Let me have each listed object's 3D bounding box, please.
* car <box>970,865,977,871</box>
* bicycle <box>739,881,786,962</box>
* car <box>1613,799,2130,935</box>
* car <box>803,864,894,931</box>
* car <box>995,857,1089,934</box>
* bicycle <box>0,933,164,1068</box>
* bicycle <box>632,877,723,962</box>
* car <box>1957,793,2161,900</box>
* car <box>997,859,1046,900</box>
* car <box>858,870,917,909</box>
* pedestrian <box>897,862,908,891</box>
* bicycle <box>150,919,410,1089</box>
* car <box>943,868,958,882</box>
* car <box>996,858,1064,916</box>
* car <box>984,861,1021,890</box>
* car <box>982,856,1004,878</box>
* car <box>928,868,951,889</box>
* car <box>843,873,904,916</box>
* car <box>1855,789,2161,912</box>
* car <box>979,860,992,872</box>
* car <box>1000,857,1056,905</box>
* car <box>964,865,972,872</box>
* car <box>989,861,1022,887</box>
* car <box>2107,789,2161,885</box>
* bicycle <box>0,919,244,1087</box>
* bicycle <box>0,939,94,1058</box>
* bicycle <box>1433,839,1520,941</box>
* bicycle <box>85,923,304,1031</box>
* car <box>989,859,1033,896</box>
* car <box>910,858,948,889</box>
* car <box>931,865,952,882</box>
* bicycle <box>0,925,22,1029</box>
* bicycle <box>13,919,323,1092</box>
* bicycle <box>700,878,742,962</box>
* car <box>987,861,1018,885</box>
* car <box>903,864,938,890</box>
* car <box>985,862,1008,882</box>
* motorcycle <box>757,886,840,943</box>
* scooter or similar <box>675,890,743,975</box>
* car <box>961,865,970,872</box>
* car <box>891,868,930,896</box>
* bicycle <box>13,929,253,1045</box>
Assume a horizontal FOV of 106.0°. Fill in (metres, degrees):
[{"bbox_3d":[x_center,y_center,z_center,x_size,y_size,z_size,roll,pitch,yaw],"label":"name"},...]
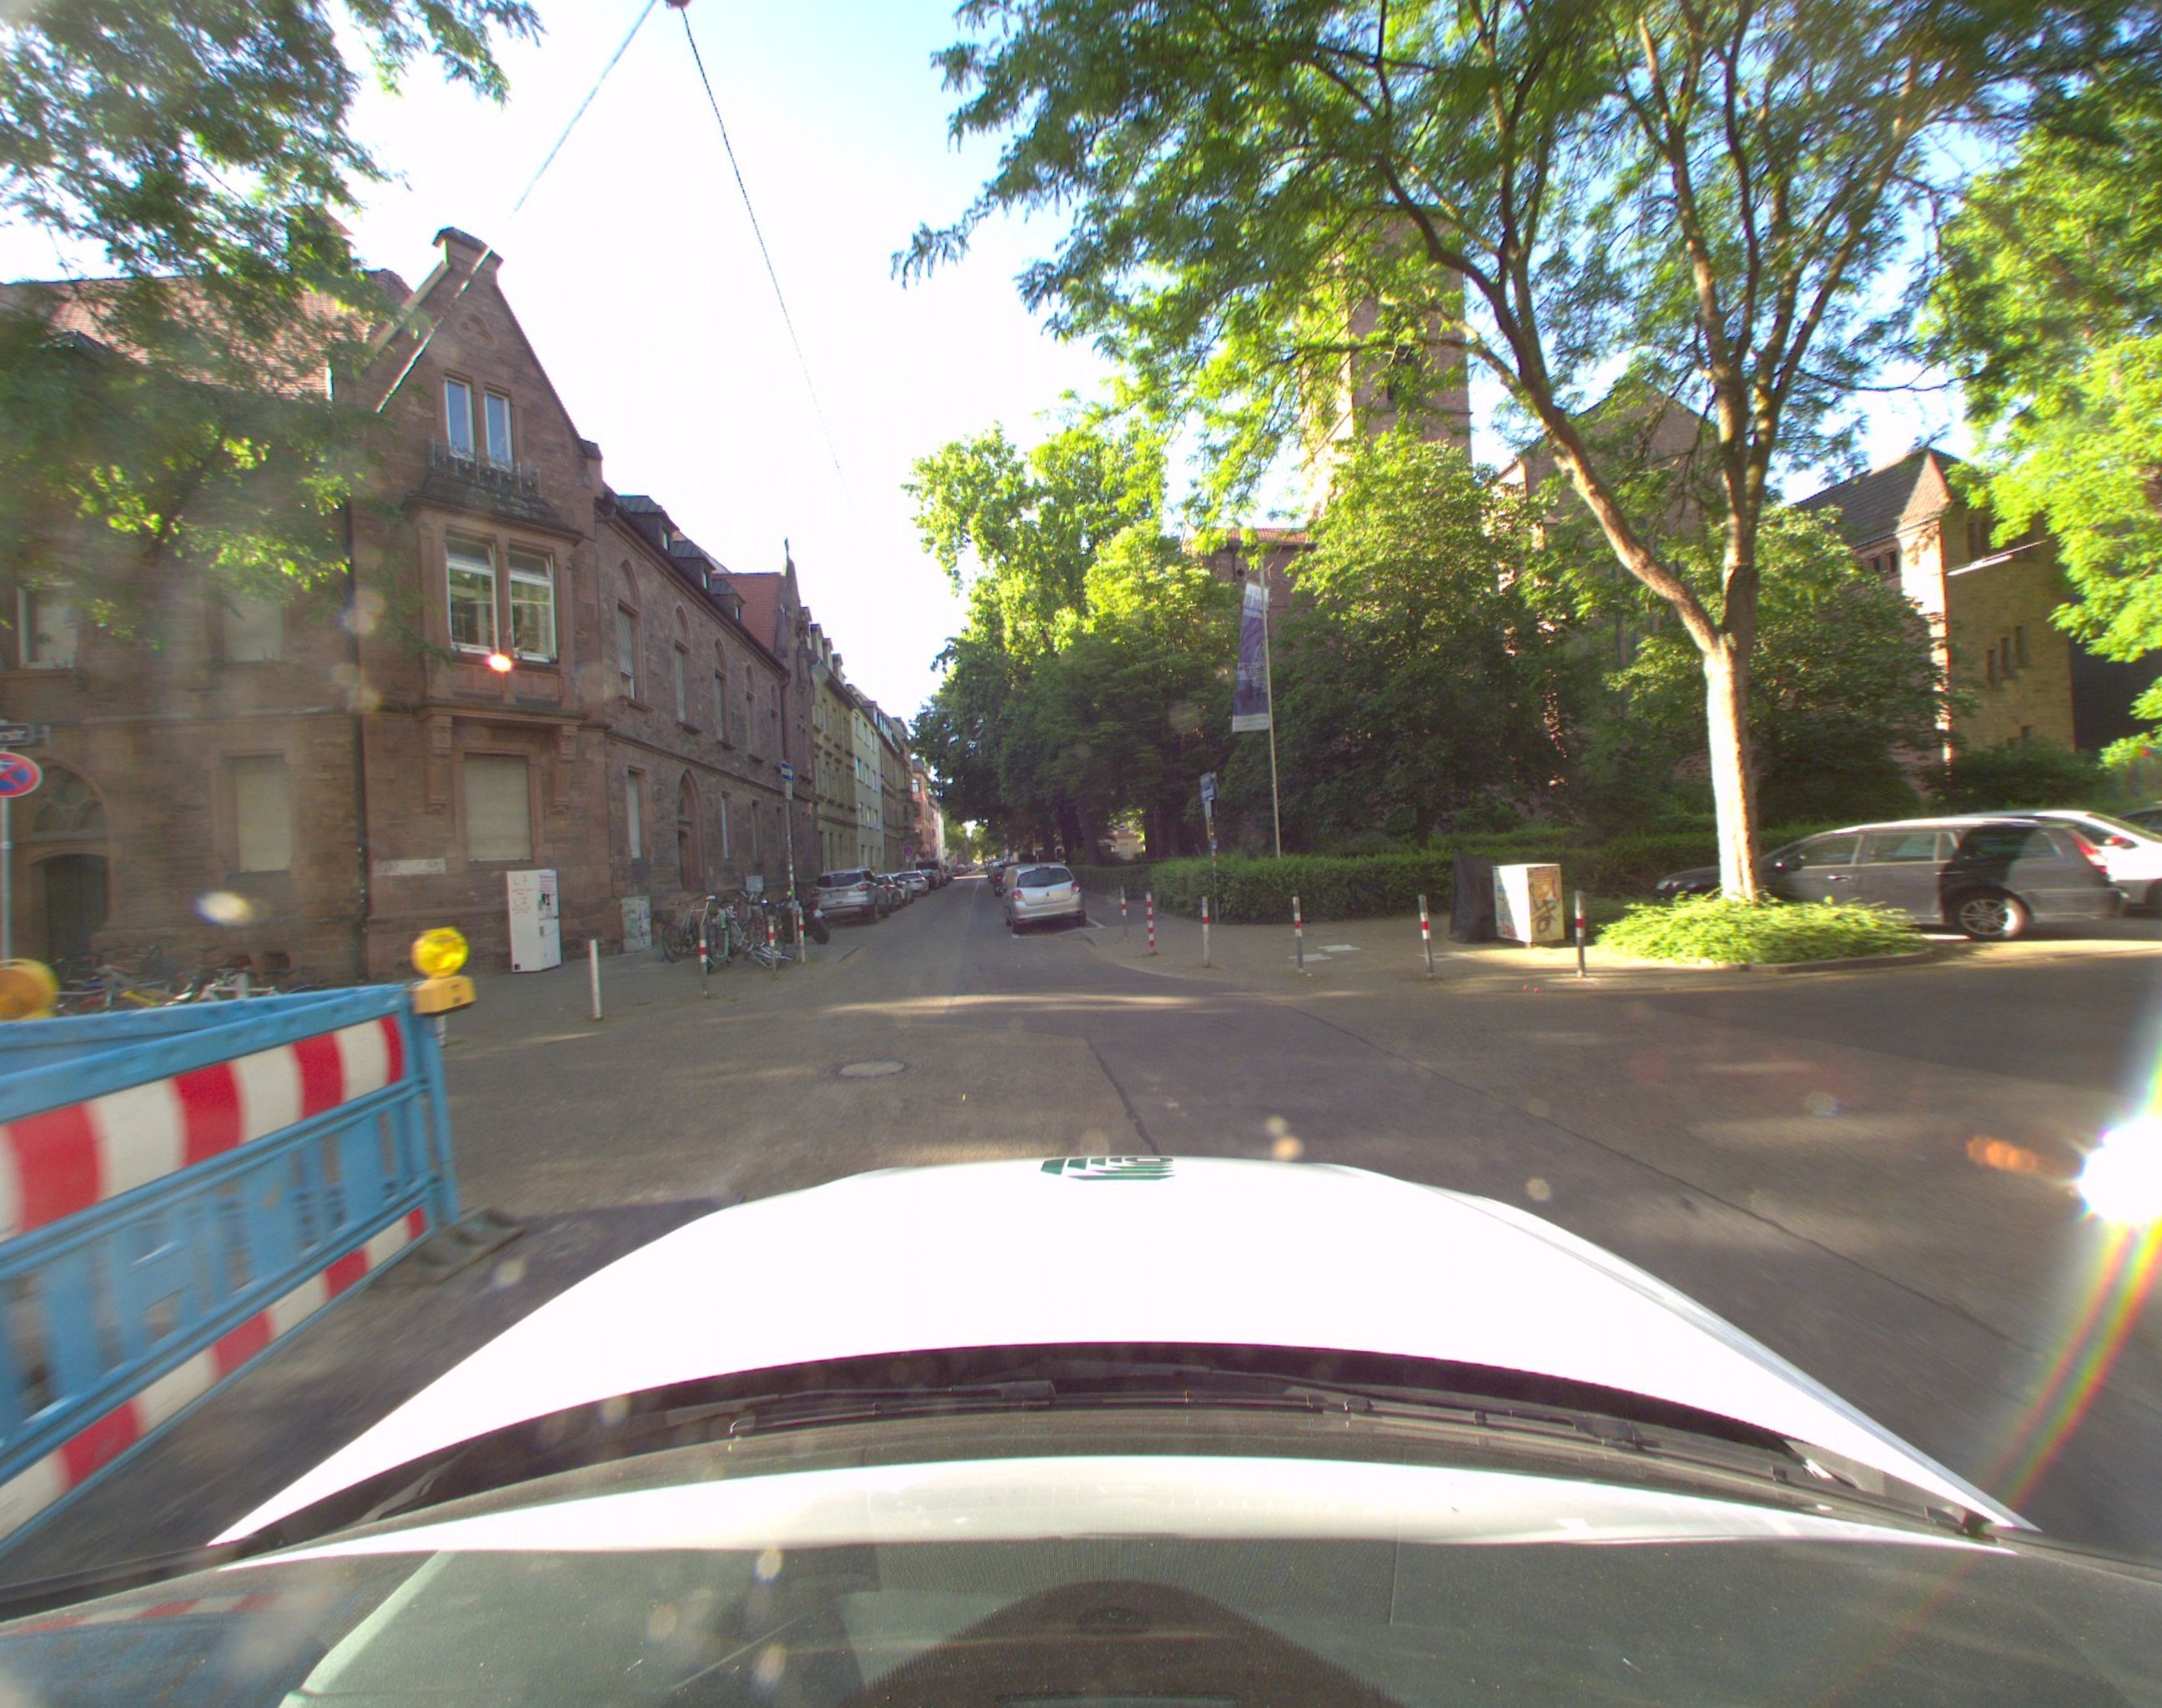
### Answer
[{"bbox_3d":[-30.502,4.049,230.716,1.992,1.647,3.989,-4,-1,-7],"label":"car"},{"bbox_3d":[-5.984,1.196,15.242,0.686,1.345,2.483,-4,0,-22],"label":"bicycle"},{"bbox_3d":[10.925,0.237,11.777,1.813,1.552,5.042,-3,-1,-40],"label":"car"},{"bbox_3d":[-7.021,1.255,24.977,1.880,1.707,3.991,-5,-1,-6],"label":"car"},{"bbox_3d":[-1.050,0.915,19.632,1.724,1.522,3.986,-4,0,-10],"label":"car"},{"bbox_3d":[-11.244,1.570,8.487,0.682,1.180,2.440,-4,1,-5],"label":"bicycle"},{"bbox_3d":[-7.739,1.197,15.783,0.682,1.423,2.789,-4,0,-9],"label":"bicycle"},{"bbox_3d":[17.104,-0.147,13.073,1.725,1.618,3.738,-4,0,-26],"label":"car"},{"bbox_3d":[-2.660,1.077,35.884,1.840,1.596,3.989,-4,0,-8],"label":"car"},{"bbox_3d":[-8.440,1.515,35.827,1.880,1.410,3.991,-5,0,-6],"label":"car"},{"bbox_3d":[-12.876,1.600,58.752,0.686,2.013,0.688,-4,-1,-15],"label":"pedestrian"},{"bbox_3d":[-8.279,1.469,8.599,0.682,1.321,2.138,-4,1,-6],"label":"bicycle"},{"bbox_3d":[-17.939,2.864,112.231,1.949,1.709,3.988,-4,-1,-9],"label":"car"},{"bbox_3d":[-1.651,0.966,25.118,1.722,1.522,3.989,-4,-1,-8],"label":"car"},{"bbox_3d":[-4.889,1.313,50.383,1.992,1.574,3.989,-4,-1,-8],"label":"car"},{"bbox_3d":[-9.750,1.438,90.262,2.160,2.255,4.512,-4,-1,-8],"label":"car"},{"bbox_3d":[-13.065,2.208,75.395,1.792,1.573,3.990,-4,2,-8],"label":"car"},{"bbox_3d":[-7.906,1.491,31.356,1.724,1.393,3.990,-4,0,-7],"label":"car"},{"bbox_3d":[14.549,-0.053,12.288,1.725,1.618,3.738,-4,0,-26],"label":"car"},{"bbox_3d":[-14.992,1.921,127.810,1.992,1.728,3.990,-4,0,-7],"label":"car"},{"bbox_3d":[-2.059,0.994,30.741,1.740,1.574,3.989,-4,-1,-8],"label":"car"},{"bbox_3d":[-28.980,3.747,208.575,1.992,1.647,3.989,-4,-1,-7],"label":"car"},{"bbox_3d":[-5.218,1.370,56.167,1.992,1.574,3.989,-4,-1,-8],"label":"car"},{"bbox_3d":[19.765,-0.382,13.086,1.725,1.618,3.738,-4,0,-26],"label":"car"},{"bbox_3d":[-10.457,1.490,8.654,0.682,1.321,2.440,-4,1,-6],"label":"bicycle"},{"bbox_3d":[-11.966,1.635,8.397,0.682,1.180,2.440,-4,1,-5],"label":"bicycle"},{"bbox_3d":[6.133,0.518,12.569,0.767,1.371,2.138,-4,0,36],"label":"bicycle"},{"bbox_3d":[-11.908,1.634,10.991,1.960,1.180,0.684,-4,1,-6],"label":"bicycle"},{"bbox_3d":[-3.550,1.150,40.627,1.893,1.625,3.989,-4,-1,-8],"label":"car"},{"bbox_3d":[-11.620,1.478,62.577,2.306,2.114,5.158,-4,-1,-6],"label":"car"},{"bbox_3d":[-14.192,1.991,82.999,1.902,1.574,3.989,-4,-1,-8],"label":"car"},{"bbox_3d":[-12.703,1.458,8.306,0.682,1.180,2.440,-4,1,-5],"label":"bicycle"},{"bbox_3d":[-9.621,1.508,8.798,0.682,1.321,2.440,-4,1,-6],"label":"bicycle"},{"bbox_3d":[-6.790,1.193,15.429,0.575,1.423,2.483,-4,0,-22],"label":"bicycle"},{"bbox_3d":[-5.875,1.405,60.616,1.992,1.574,3.989,-4,-1,-8],"label":"car"},{"bbox_3d":[-10.870,1.557,55.507,1.992,1.574,3.989,-4,-1,-8],"label":"car"},{"bbox_3d":[-7.485,1.555,71.891,1.792,1.574,3.989,-4,-1,-8],"label":"car"},{"bbox_3d":[-6.452,1.381,18.551,2.281,1.207,0.670,-5,-1,41],"label":"motorcycle"},{"bbox_3d":[-6.179,1.273,13.576,0.528,1.277,1.299,-4,0,-4],"label":"scooter or similar"},{"bbox_3d":[-28.268,3.498,200.038,1.992,1.647,3.989,-4,-1,-7],"label":"car"},{"bbox_3d":[-9.464,1.512,45.440,1.770,1.353,3.989,-3,0,-7],"label":"car"},{"bbox_3d":[-11.884,1.643,10.268,1.960,1.180,0.683,-4,1,-7],"label":"bicycle"}]
